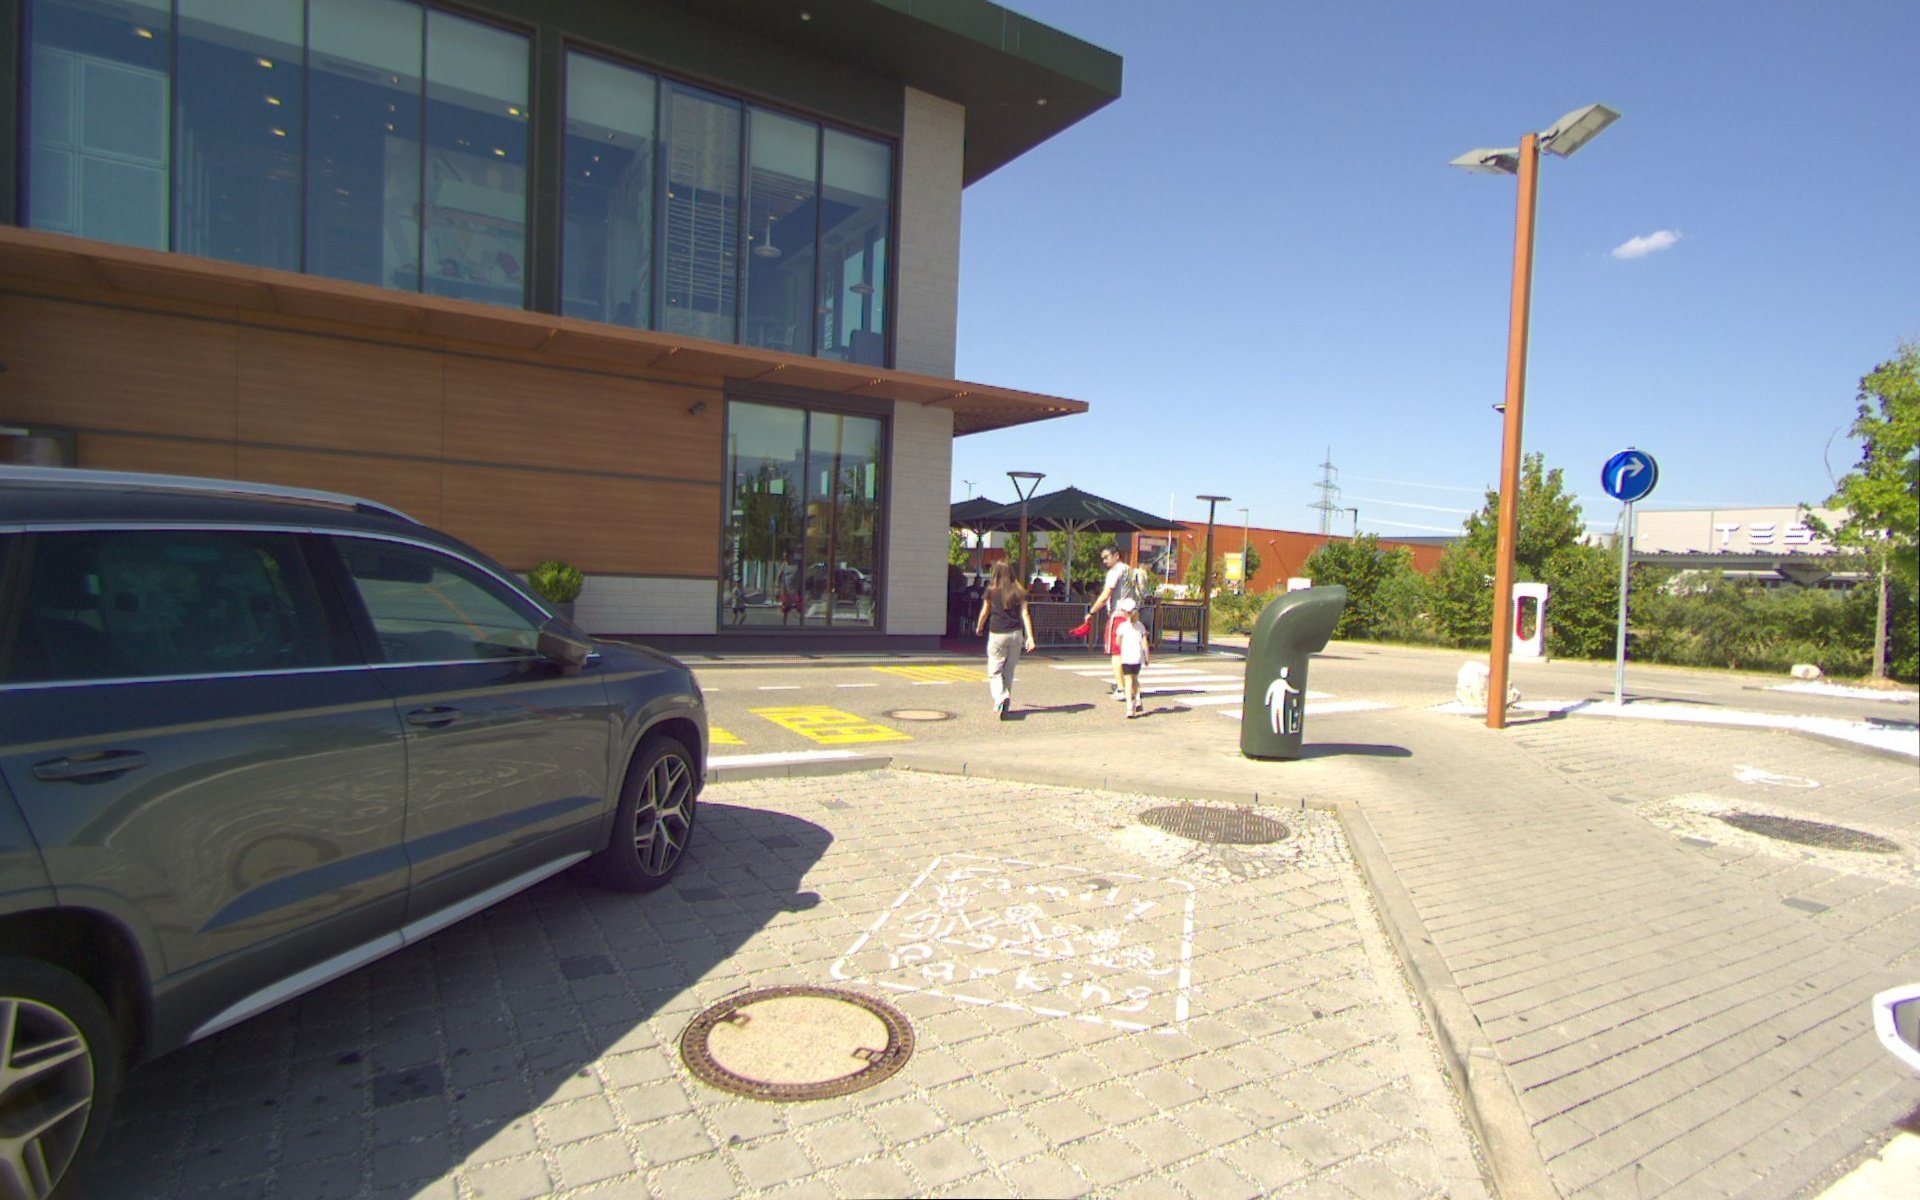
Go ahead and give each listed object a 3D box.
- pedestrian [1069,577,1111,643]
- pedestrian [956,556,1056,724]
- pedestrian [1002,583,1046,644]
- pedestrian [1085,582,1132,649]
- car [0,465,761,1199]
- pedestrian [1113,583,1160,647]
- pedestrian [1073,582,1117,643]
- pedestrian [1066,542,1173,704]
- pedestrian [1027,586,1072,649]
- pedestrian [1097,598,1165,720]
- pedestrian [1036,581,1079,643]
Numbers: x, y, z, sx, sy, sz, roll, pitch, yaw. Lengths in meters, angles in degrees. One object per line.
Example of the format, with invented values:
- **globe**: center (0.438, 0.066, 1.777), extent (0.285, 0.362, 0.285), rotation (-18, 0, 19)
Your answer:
- **pedestrian**: center (2.597, 0.196, 20.076), extent (0.628, 1.275, 0.519), rotation (1, 2, -36)
- **pedestrian**: center (0.446, 0.380, 10.062), extent (0.730, 1.605, 0.725), rotation (1, 1, -22)
- **pedestrian**: center (1.221, 0.252, 19.140), extent (0.628, 1.139, 0.519), rotation (1, 2, -36)
- **pedestrian**: center (2.886, 0.296, 19.552), extent (0.709, 1.275, 0.519), rotation (1, 2, -36)
- **car**: center (-2.376, 0.451, 3.198), extent (1.755, 1.625, 4.228), rotation (4, 3, 13)
- **pedestrian**: center (3.587, 0.298, 20.373), extent (0.723, 1.275, 0.567), rotation (1, 2, -36)
- **pedestrian**: center (2.903, 0.263, 21.654), extent (0.723, 1.275, 0.567), rotation (1, 2, -36)
- **pedestrian**: center (1.858, 0.249, 11.712), extent (0.889, 1.792, 0.794), rotation (1, 2, -40)
- **pedestrian**: center (1.657, 0.321, 18.598), extent (0.628, 1.139, 0.519), rotation (1, 2, -36)
- **pedestrian**: center (1.756, 0.591, 10.339), extent (0.444, 1.202, 0.486), rotation (1, 2, -37)
- **pedestrian**: center (2.059, 0.247, 21.164), extent (0.709, 1.275, 0.519), rotation (1, 2, -36)
